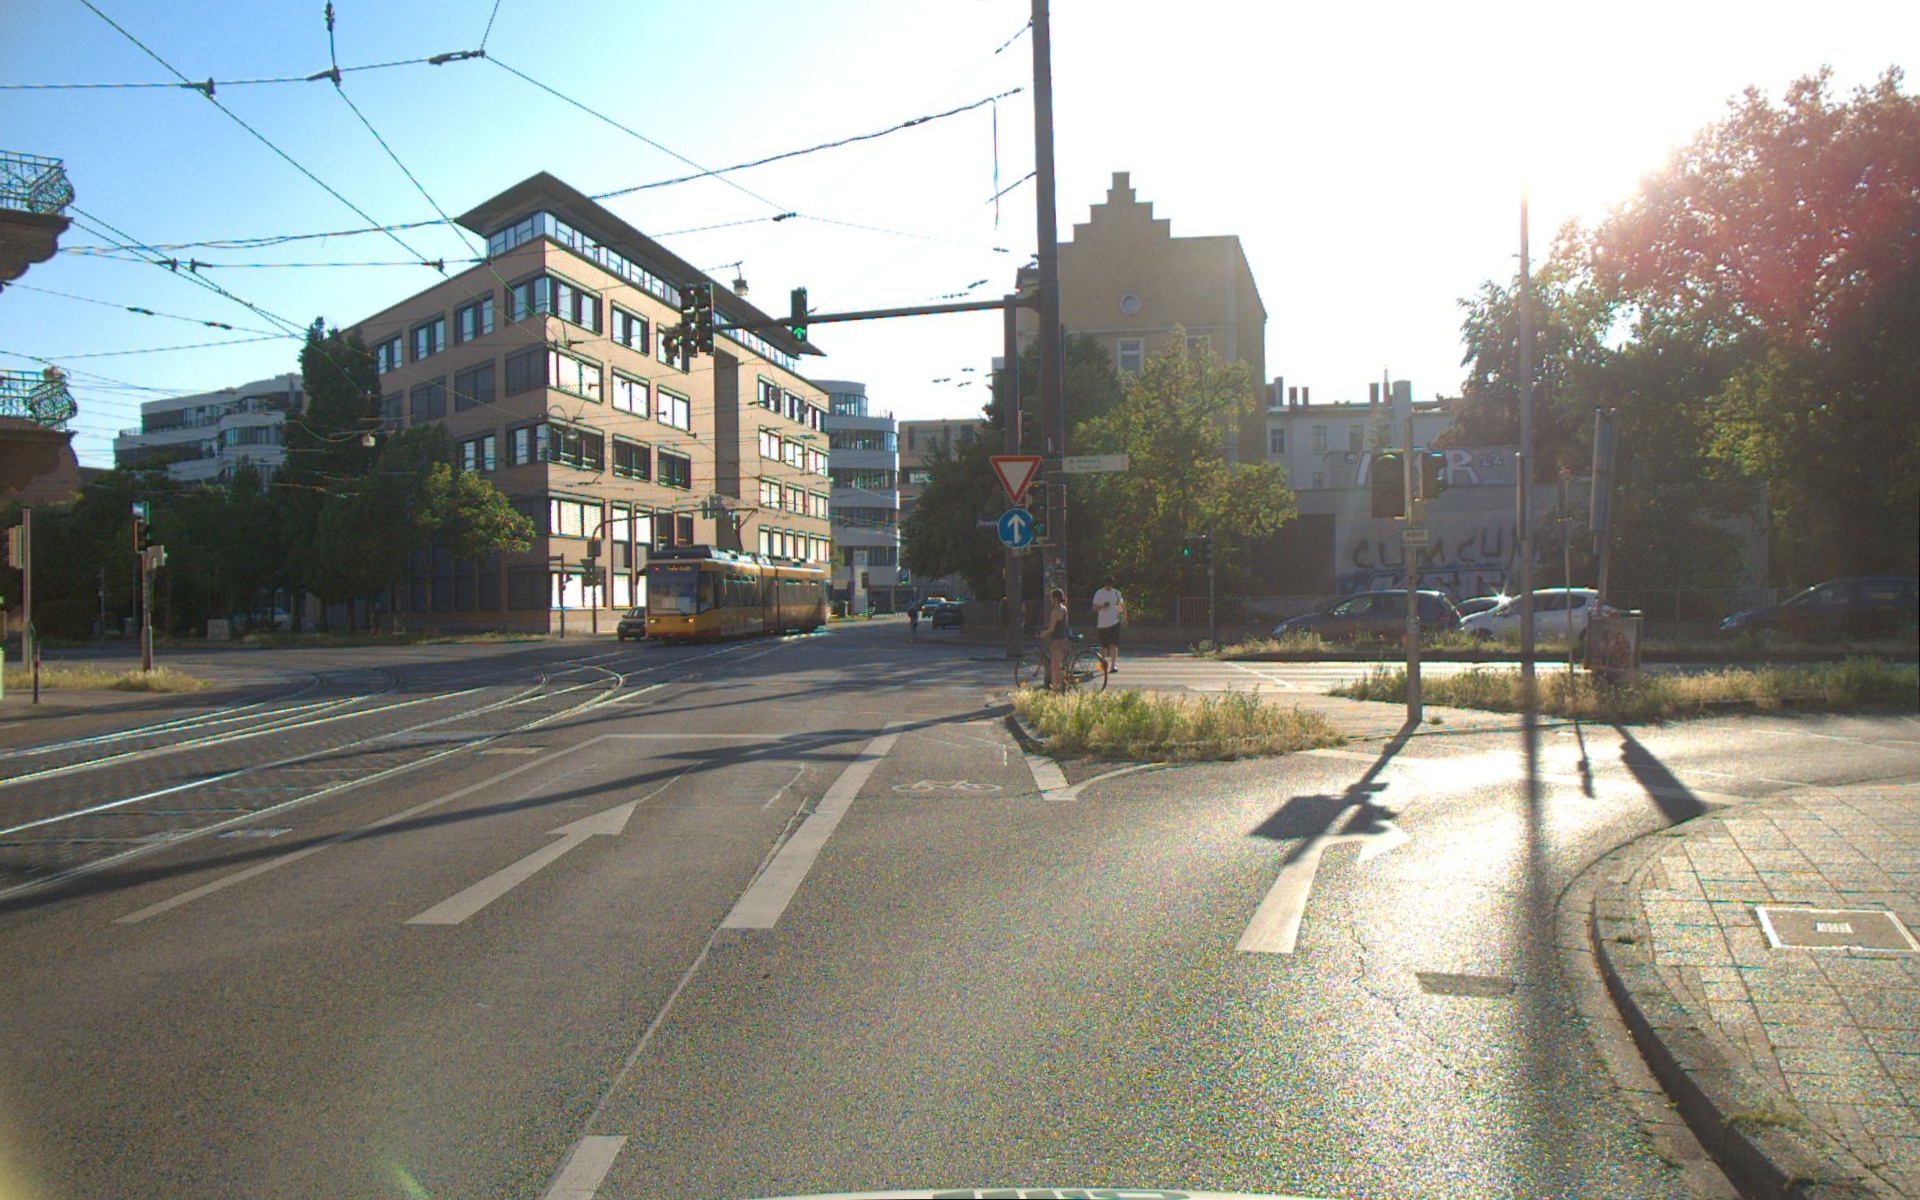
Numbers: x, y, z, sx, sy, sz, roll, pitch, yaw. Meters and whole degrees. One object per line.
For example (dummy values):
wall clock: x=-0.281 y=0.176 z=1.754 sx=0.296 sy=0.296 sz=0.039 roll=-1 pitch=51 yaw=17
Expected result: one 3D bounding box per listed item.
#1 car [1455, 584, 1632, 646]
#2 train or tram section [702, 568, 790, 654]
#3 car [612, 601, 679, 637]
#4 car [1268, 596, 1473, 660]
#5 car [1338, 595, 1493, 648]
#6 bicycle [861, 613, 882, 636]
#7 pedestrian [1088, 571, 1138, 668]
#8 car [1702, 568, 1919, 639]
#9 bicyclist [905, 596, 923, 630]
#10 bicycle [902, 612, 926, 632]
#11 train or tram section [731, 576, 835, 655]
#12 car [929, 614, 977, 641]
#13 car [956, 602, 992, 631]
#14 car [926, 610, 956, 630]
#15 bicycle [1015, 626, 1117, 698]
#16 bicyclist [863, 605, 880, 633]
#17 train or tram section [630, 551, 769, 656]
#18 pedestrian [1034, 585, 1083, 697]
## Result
car: x=13.597 y=0.357 z=38.577 sx=3.802 sy=1.342 sz=1.724 roll=-1 pitch=-1 yaw=22
train or tram section: x=-9.310 y=0.491 z=72.426 sx=2.800 sy=3.569 sz=5.305 roll=-1 pitch=-1 yaw=4
car: x=-12.858 y=0.776 z=67.859 sx=1.771 sy=1.404 sz=4.164 roll=-1 pitch=-1 yaw=3
car: x=9.097 y=0.633 z=36.672 sx=4.151 sy=1.319 sz=1.723 roll=-1 pitch=-1 yaw=25
car: x=12.104 y=0.586 z=43.959 sx=3.802 sy=1.319 sz=1.724 roll=-1 pitch=-1 yaw=22
bicycle: x=-6.788 y=1.889 z=126.697 sx=1.008 sy=1.680 sz=2.562 roll=-1 pitch=-1 yaw=12
pedestrian: x=2.922 y=0.371 z=31.584 sx=0.889 sy=1.820 sz=0.828 roll=-1 pitch=-1 yaw=7
car: x=17.142 y=0.085 z=32.906 sx=4.274 sy=1.319 sz=1.723 roll=-1 pitch=-1 yaw=24
bicyclist: x=-2.097 y=0.587 z=75.628 sx=0.659 sy=1.549 sz=0.814 roll=-1 pitch=-1 yaw=11
bicycle: x=-2.100 y=1.006 z=75.585 sx=0.680 sy=0.892 sz=2.028 roll=-1 pitch=-1 yaw=11
train or tram section: x=-8.461 y=0.770 z=80.752 sx=2.800 sy=3.569 sz=11.303 roll=-1 pitch=-1 yaw=5
car: x=-0.350 y=1.459 z=88.768 sx=1.747 sy=1.413 sz=4.003 roll=-1 pitch=-1 yaw=11
car: x=0.954 y=1.118 z=111.190 sx=1.951 sy=1.848 sz=4.002 roll=1 pitch=-2 yaw=7
car: x=-1.545 y=1.697 z=139.497 sx=1.777 sy=1.643 sz=4.469 roll=-1 pitch=-1 yaw=9
bicycle: x=1.574 y=0.931 z=24.861 sx=1.642 sy=1.047 sz=0.397 roll=-2 pitch=-1 yaw=43
bicyclist: x=-6.784 y=1.460 z=126.788 sx=1.008 sy=2.049 sz=1.248 roll=1 pitch=-2 yaw=11
train or tram section: x=-9.699 y=0.197 z=63.328 sx=2.801 sy=3.569 sz=13.017 roll=-1 pitch=-1 yaw=2
pedestrian: x=1.476 y=0.610 z=24.786 sx=0.516 sy=1.660 sz=0.486 roll=-2 pitch=-1 yaw=42
